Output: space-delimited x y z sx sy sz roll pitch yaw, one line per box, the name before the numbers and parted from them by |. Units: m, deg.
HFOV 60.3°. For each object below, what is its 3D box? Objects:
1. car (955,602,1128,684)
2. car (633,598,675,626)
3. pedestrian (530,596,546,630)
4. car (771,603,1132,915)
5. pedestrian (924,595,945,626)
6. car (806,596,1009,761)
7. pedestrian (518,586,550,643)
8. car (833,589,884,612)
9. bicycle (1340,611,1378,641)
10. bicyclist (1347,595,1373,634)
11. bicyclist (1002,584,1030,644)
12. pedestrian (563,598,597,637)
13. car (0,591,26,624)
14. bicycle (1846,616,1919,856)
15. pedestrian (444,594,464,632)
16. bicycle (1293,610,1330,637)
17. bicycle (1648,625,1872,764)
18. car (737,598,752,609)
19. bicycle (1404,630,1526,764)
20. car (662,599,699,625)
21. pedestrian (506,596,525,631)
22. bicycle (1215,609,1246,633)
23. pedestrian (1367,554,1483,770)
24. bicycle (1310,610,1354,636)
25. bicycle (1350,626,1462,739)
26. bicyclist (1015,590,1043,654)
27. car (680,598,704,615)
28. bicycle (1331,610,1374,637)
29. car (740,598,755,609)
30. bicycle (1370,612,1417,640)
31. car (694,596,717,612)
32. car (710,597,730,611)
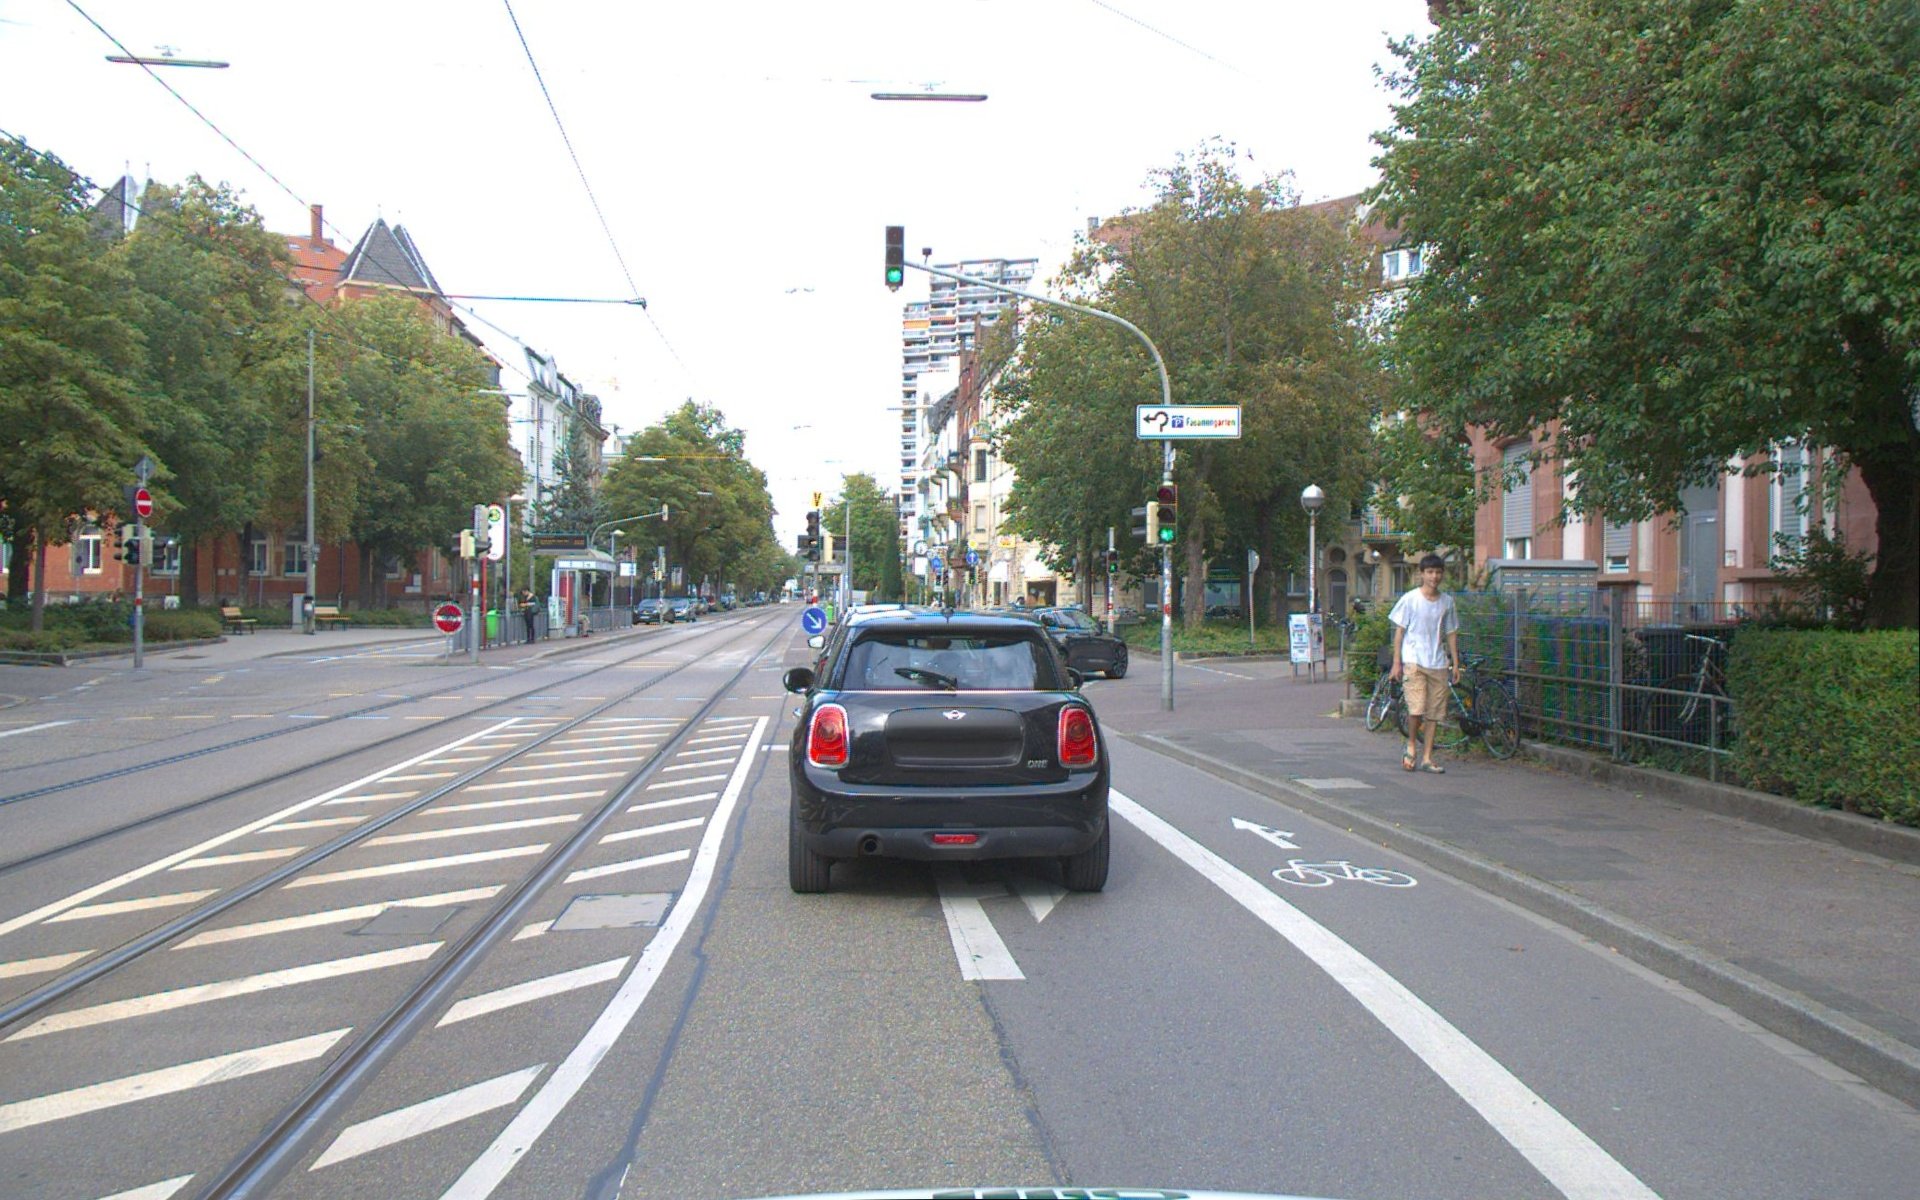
car | 1.672 0.772 32.100 1.717 1.466 4.475 0 0 26
car | -16.942 0.662 91.634 1.717 1.466 3.998 2 0 -3
pedestrian | -22.290 0.677 87.387 0.680 1.749 0.757 0 0 -3
car | -0.076 0.765 9.899 1.716 1.466 3.999 0 0 -1
pedestrian | -1.400 0.580 91.888 0.719 1.703 0.830 -3 0 42
car | -0.518 0.738 17.467 1.888 1.536 3.999 0 0 -1
pedestrian | -12.478 0.424 48.465 0.836 1.649 0.841 0 0 -10
car | -10.520 0.025 171.709 2.357 2.312 5.003 0 0 44
bicycle | 15.507 1.004 64.274 0.605 1.095 1.812 0 0 -17
bicyclist | 15.518 0.569 64.209 0.605 1.498 0.911 0 0 -17
bicyclist | 1.520 0.369 44.729 0.670 1.591 0.997 0 0 -3
pedestrian | -12.959 0.578 56.421 1.039 1.316 0.983 0 0 -10
car | -44.810 0.328 75.267 3.903 1.504 1.816 0 0 18
bicycle | 5.501 0.750 8.969 0.505 1.304 1.549 0 0 -3
pedestrian | -23.399 0.585 76.486 0.817 1.733 0.731 0 0 -10
bicycle | 15.779 1.058 74.241 1.872 1.147 0.526 -1 1 -36
bicycle | 6.124 0.710 12.680 1.515 1.026 0.509 0 0 -7
car | -31.280 0.456 239.954 1.954 1.579 3.996 0 0 -4
bicycle | 4.624 0.861 15.237 0.498 1.107 1.548 -3 0 -5
car | -16.989 0.700 100.796 1.717 1.466 3.998 2 0 -3
pedestrian | -21.808 0.666 81.153 0.817 1.733 0.731 0 0 -10
bicycle | 12.725 0.981 77.685 0.654 1.147 1.886 0 0 37
pedestrian | 3.956 0.510 14.124 0.715 1.784 0.949 0 0 0
bicycle | 16.423 1.026 72.996 1.855 1.147 0.596 0 0 -14
bicycle | 4.822 0.867 17.984 0.658 1.125 1.670 0 0 -5
bicyclist | 1.729 0.544 41.528 0.583 1.577 1.013 0 0 -5
car | -22.417 0.528 138.288 1.732 1.420 3.995 0 0 -6
bicycle | 17.093 1.035 71.988 1.861 1.147 0.579 0 0 -22
car | -32.129 0.492 250.377 1.954 1.579 3.996 0 0 -4
bicycle | 18.230 1.086 69.521 1.852 1.147 0.532 0 0 -9
car | -25.334 0.352 164.830 1.954 1.579 3.996 0 0 -4
car | -27.248 0.422 187.698 1.954 1.579 3.996 0 0 -4
